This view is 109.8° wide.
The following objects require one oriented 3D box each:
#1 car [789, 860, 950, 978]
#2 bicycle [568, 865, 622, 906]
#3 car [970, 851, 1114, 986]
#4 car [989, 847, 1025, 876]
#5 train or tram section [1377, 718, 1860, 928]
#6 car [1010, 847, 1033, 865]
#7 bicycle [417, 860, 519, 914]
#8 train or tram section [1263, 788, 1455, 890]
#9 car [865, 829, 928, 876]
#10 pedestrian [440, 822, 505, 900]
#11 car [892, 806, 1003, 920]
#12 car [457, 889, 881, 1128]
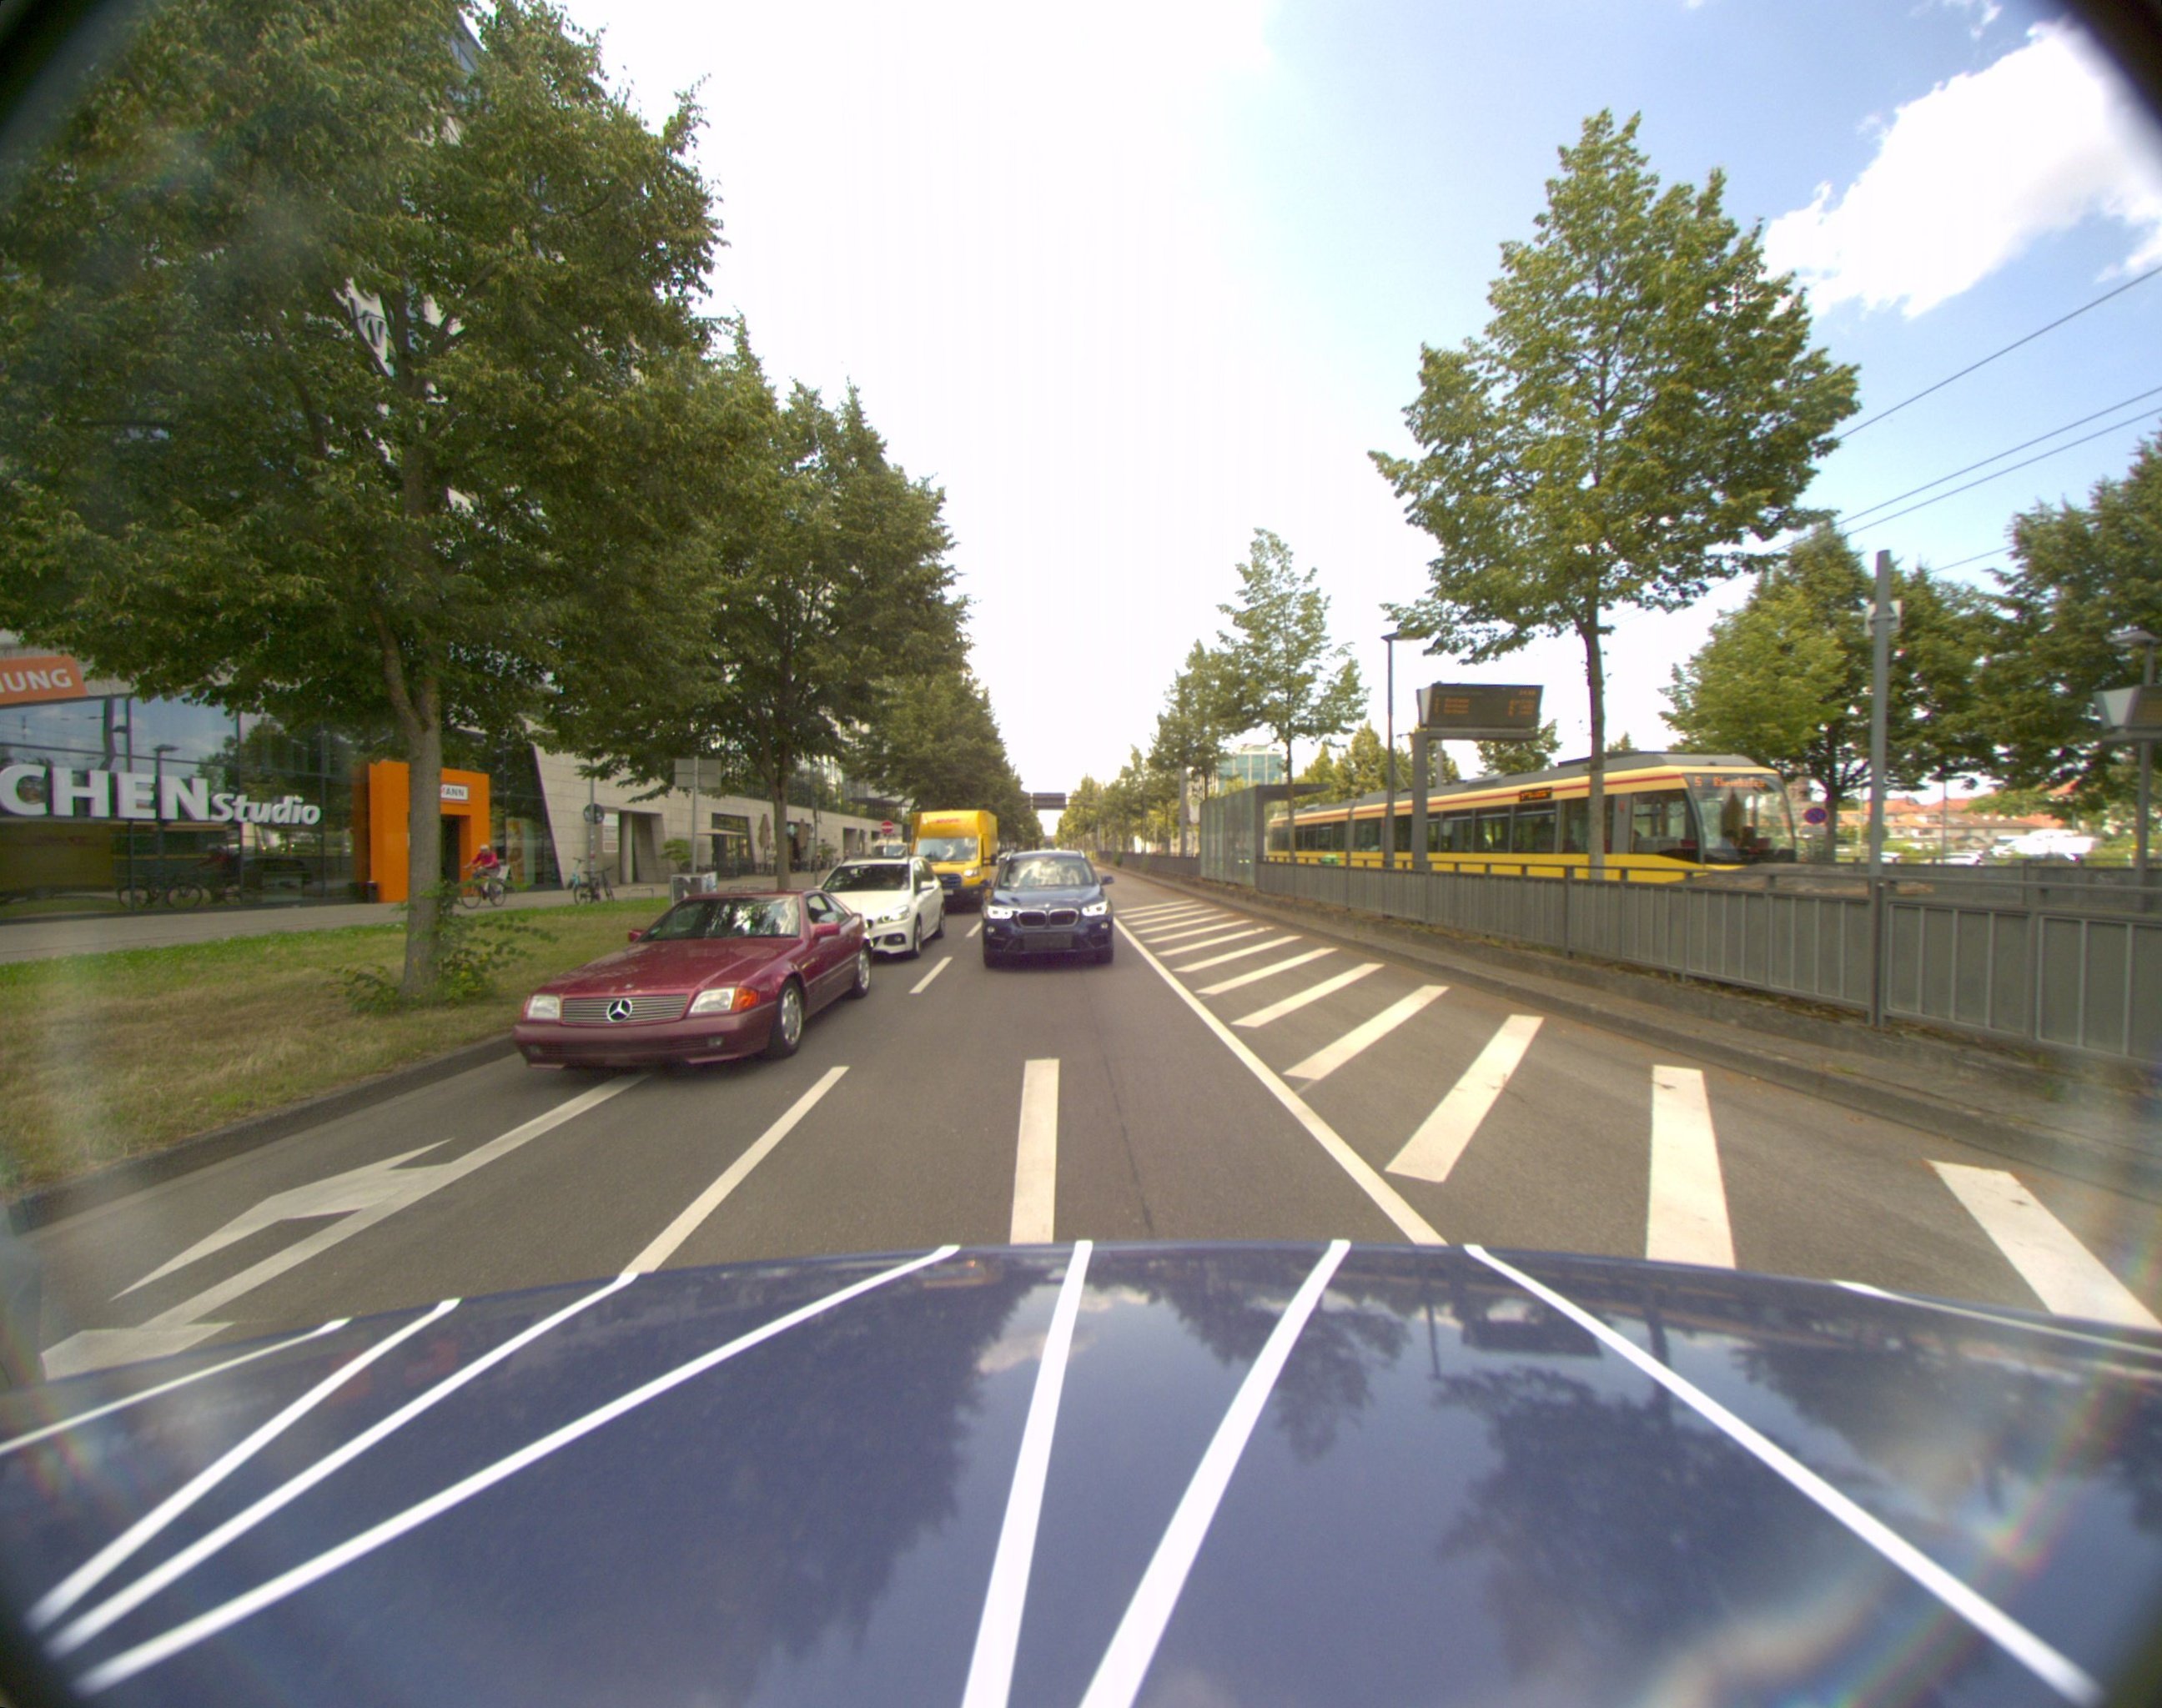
[{"bbox_3d":[-3.389,0.951,12.978,1.674,1.589,4.127,-2,0,-2],"label":"car"},{"bbox_3d":[-13.468,0.855,21.094,0.516,1.082,1.748,0,0,-6],"label":"bicycle"},{"bbox_3d":[-0.567,0.821,11.829,1.774,1.589,4.126,-2,1,-2],"label":"car"},{"bbox_3d":[-4.949,0.455,51.093,1.999,1.751,4.295,-2,1,-1],"label":"car"},{"bbox_3d":[12.235,-0.571,20.294,2.850,3.718,13.472,0,0,-3],"label":"train or tram section"},{"bbox_3d":[-5.899,0.186,75.287,1.823,1.641,3.999,-2,1,1],"label":"car"},{"bbox_3d":[-16.053,0.824,19.999,0.812,1.237,2.410,3,1,-4],"label":"bicycle"},{"bbox_3d":[11.608,-0.546,34.252,2.694,3.617,14.660,0,0,-3],"label":"train or tram section"},{"bbox_3d":[-10.322,-0.112,43.017,2.162,2.380,6.275,-2,1,-2],"label":"car"},{"bbox_3d":[-16.029,0.181,20.033,0.754,2.002,1.231,1,0,-3],"label":"pedestrian"},{"bbox_3d":[-3.775,0.178,23.027,2.284,2.837,7.253,-2,1,-2],"label":"car"},{"bbox_3d":[-3.152,1.075,6.887,1.674,1.254,4.091,-2,0,-2],"label":"car"}]
